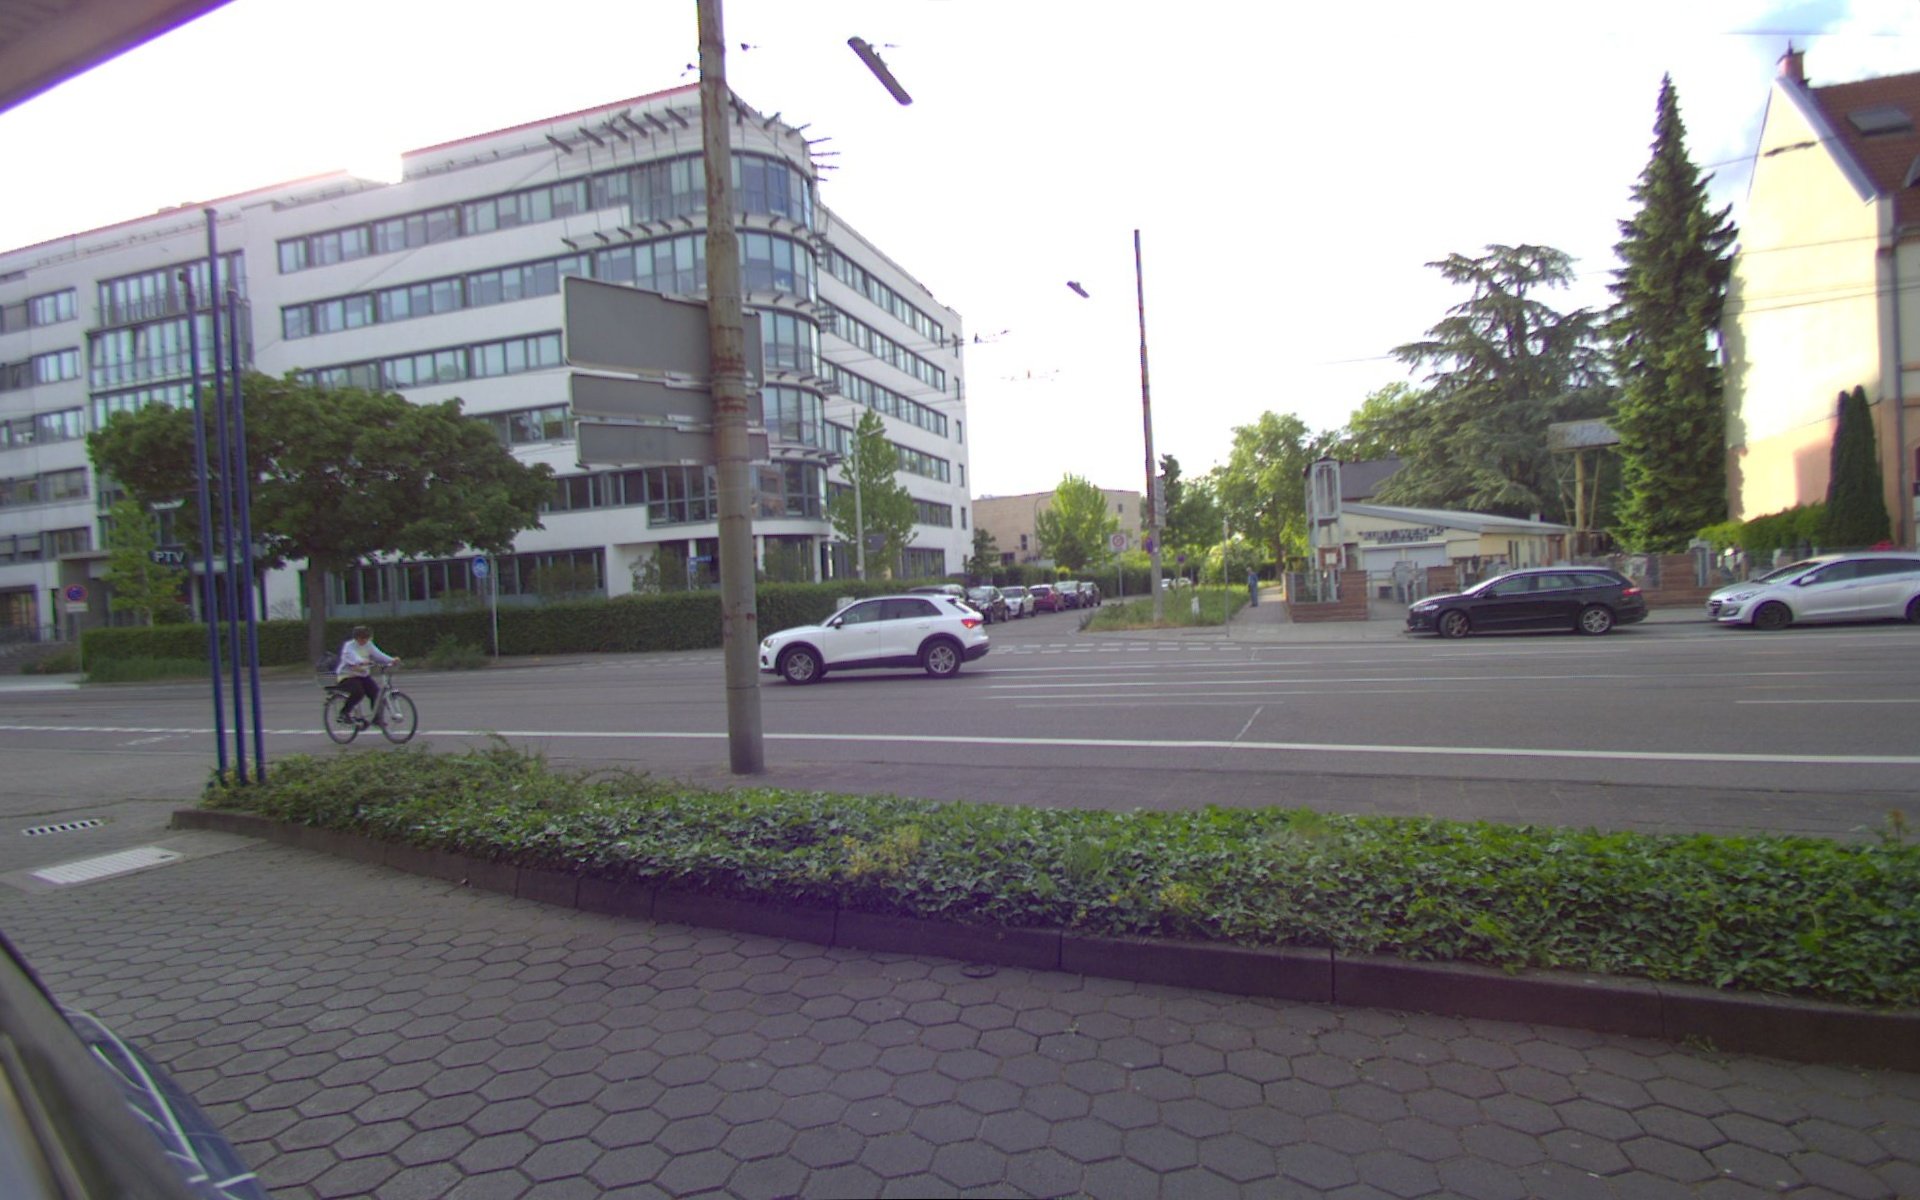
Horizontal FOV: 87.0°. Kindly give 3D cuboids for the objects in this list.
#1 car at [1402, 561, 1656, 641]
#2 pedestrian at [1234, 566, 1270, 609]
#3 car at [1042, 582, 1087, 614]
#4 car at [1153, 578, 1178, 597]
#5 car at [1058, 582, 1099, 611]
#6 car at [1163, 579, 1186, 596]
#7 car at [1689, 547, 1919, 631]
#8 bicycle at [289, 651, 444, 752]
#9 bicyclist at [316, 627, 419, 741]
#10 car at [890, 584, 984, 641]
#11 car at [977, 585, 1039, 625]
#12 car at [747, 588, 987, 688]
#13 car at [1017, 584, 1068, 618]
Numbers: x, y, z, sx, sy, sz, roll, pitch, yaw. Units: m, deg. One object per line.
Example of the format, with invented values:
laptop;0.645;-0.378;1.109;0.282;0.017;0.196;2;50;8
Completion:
car;12.930;0.045;23.413;4.791;1.507;1.986;-4;0;22
pedestrian;12.724;-0.525;44.153;0.988;1.843;1.096;-1;0;-28
car;5.995;-0.128;57.659;1.773;1.653;4.064;-4;0;17
car;20.439;-1.256;100.612;1.774;1.653;4.060;-4;0;19
car;7.386;-0.225;62.670;1.773;1.653;4.064;-4;0;17
car;22.577;-1.284;106.309;1.774;1.653;4.060;-4;0;19
car;18.506;-0.257;21.496;4.459;1.486;1.986;-4;0;22
bicycle;-8.273;1.414;14.111;1.925;1.267;0.731;-3;2;20
bicyclist;-8.235;1.159;14.079;0.910;1.470;0.731;-3;2;20
car;-0.709;0.386;35.534;1.962;1.625;4.411;-4;2;17
car;2.220;0.182;45.753;1.773;1.565;4.083;-4;0;17
car;-1.691;0.719;19.439;4.324;1.588;1.839;-3;-1;3
car;4.300;0.030;52.358;1.773;1.552;4.018;-4;0;17
